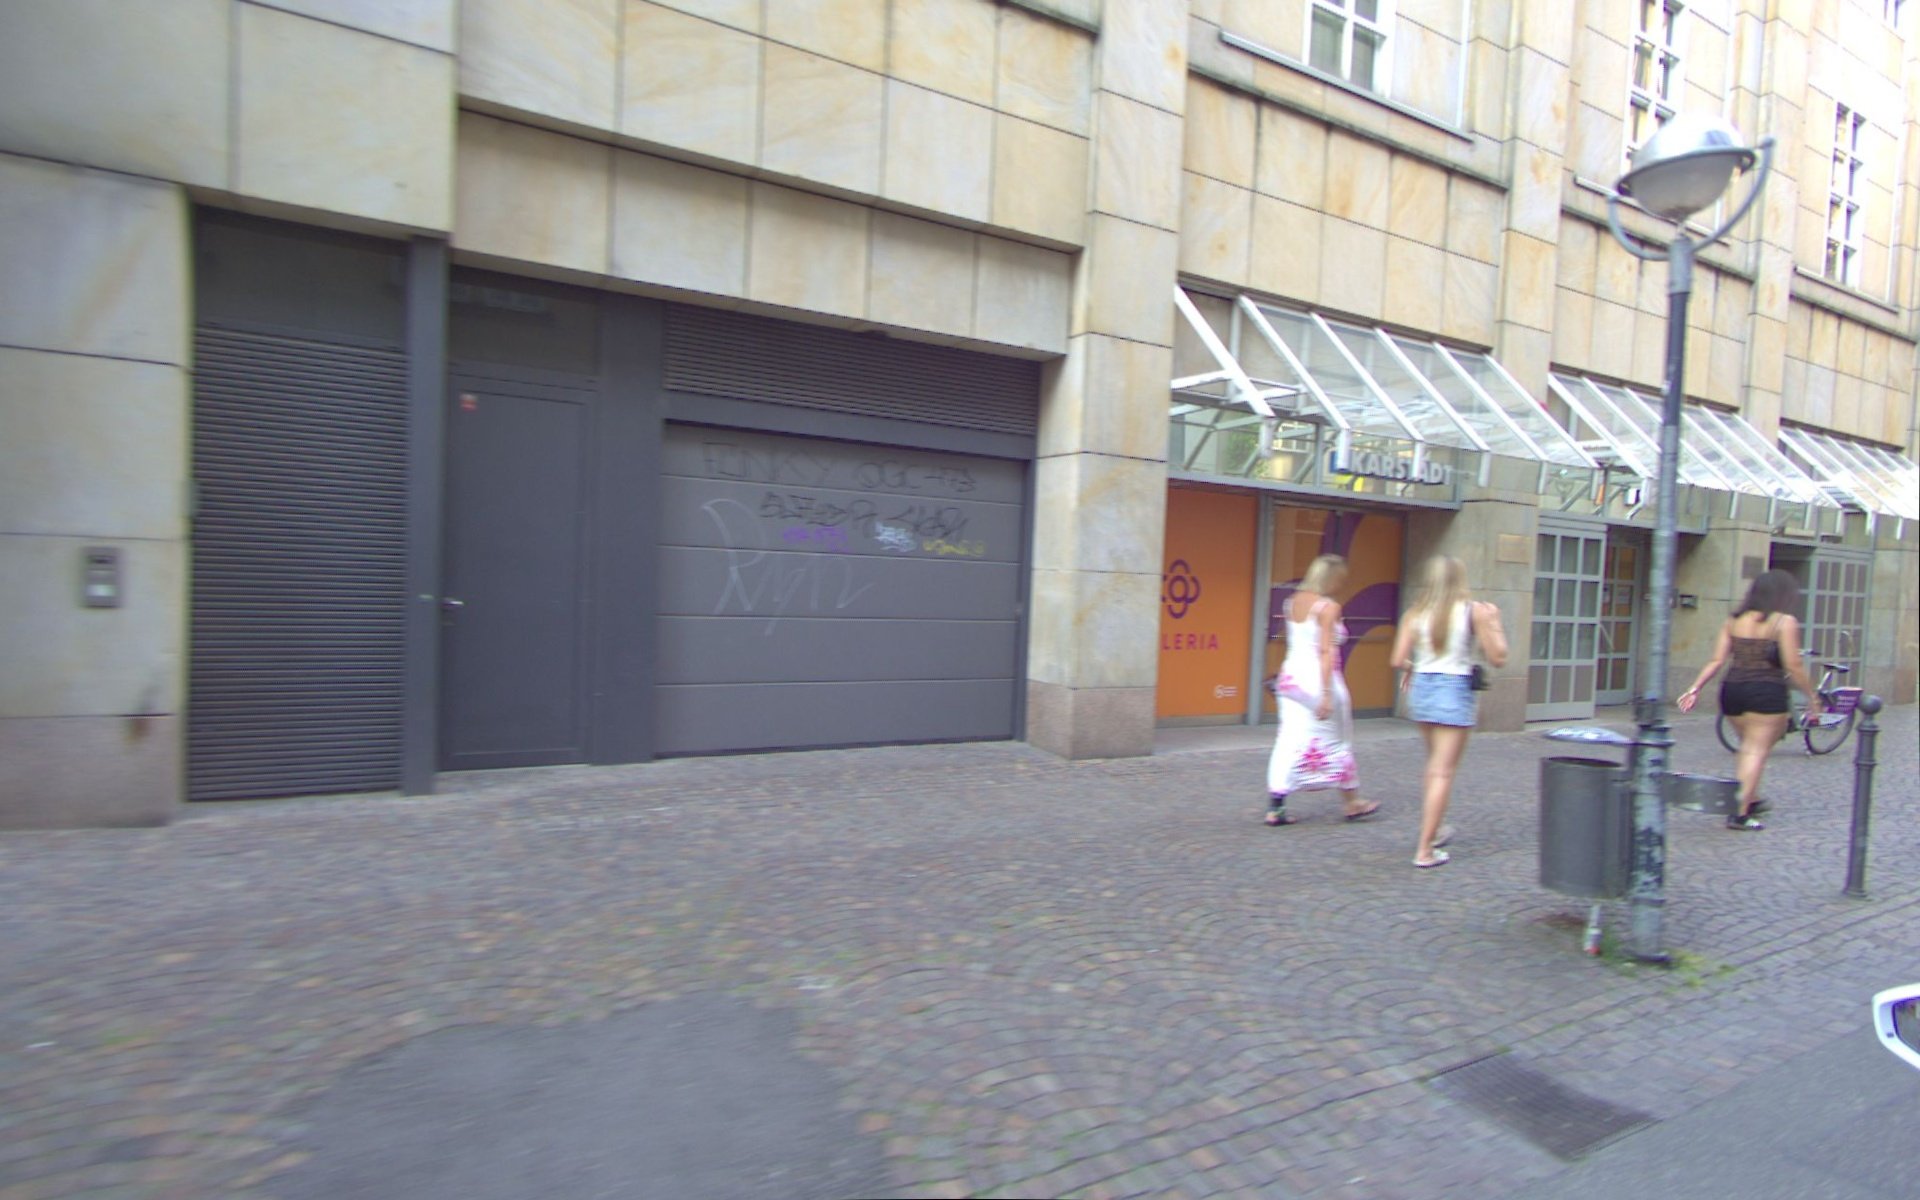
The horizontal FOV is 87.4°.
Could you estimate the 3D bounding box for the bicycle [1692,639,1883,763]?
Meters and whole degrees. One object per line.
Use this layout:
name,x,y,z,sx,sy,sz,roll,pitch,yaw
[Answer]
bicycle,8.309,1.002,10.095,1.735,1.153,0.521,2,1,-14

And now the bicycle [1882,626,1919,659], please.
bicycle,31.379,1.418,32.826,1.757,1.033,0.479,3,1,38

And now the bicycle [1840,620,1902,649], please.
bicycle,38.651,1.451,42.647,1.880,1.127,0.479,3,1,38

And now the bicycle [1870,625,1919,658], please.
bicycle,31.803,1.416,33.752,1.757,1.033,0.479,3,1,38

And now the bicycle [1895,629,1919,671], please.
bicycle,25.522,1.340,26.037,1.802,1.057,0.532,3,1,38

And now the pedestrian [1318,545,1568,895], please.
pedestrian,2.675,0.594,5.597,0.938,1.753,0.802,1,2,-32

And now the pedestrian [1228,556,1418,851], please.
pedestrian,2.252,0.589,6.252,0.851,1.687,0.670,1,2,-33

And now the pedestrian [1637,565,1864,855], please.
pedestrian,5.349,0.688,6.824,0.958,1.819,0.783,1,2,-23

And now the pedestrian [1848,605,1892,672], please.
pedestrian,22.752,0.946,25.123,0.689,1.604,0.716,3,2,38
